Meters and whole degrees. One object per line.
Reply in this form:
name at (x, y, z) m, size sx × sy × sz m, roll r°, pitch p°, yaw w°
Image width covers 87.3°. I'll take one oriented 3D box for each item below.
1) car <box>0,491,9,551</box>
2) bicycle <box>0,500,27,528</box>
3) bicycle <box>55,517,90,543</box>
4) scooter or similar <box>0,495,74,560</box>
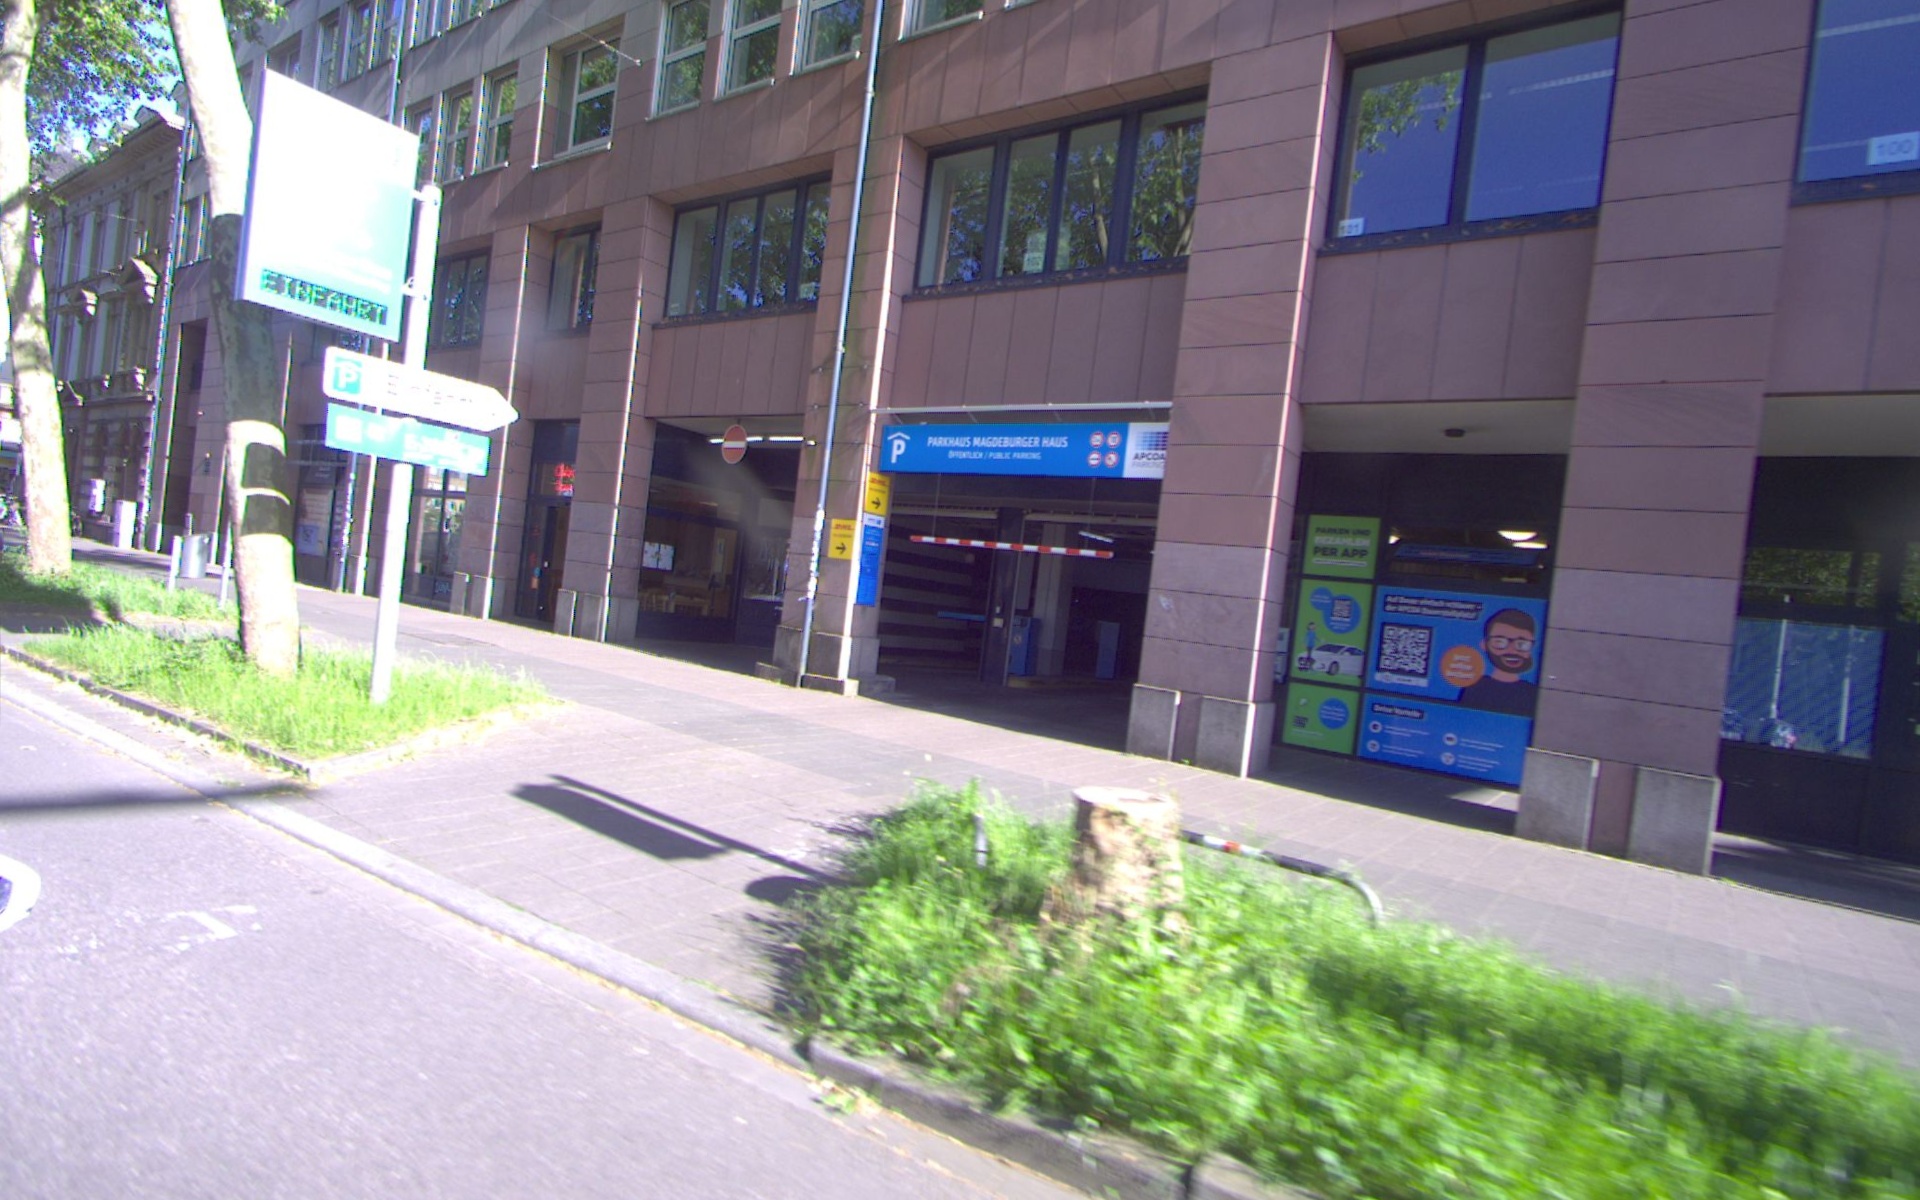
car at (-15.891, -1.032, 15.026) m, size 4.215 × 1.588 × 1.669 m, roll 6°, pitch -2°, yaw 37°
bicycle at (-37.528, -3.409, 39.822) m, size 1.853 × 1.009 × 0.414 m, roll 6°, pitch 0°, yaw 36°
bicycle at (-31.529, -2.474, 35.719) m, size 1.637 × 0.783 × 0.548 m, roll 6°, pitch 1°, yaw 36°
scooter or similar at (-20.549, -1.599, 22.067) m, size 0.442 × 1.252 × 1.541 m, roll 7°, pitch 0°, yaw 36°
